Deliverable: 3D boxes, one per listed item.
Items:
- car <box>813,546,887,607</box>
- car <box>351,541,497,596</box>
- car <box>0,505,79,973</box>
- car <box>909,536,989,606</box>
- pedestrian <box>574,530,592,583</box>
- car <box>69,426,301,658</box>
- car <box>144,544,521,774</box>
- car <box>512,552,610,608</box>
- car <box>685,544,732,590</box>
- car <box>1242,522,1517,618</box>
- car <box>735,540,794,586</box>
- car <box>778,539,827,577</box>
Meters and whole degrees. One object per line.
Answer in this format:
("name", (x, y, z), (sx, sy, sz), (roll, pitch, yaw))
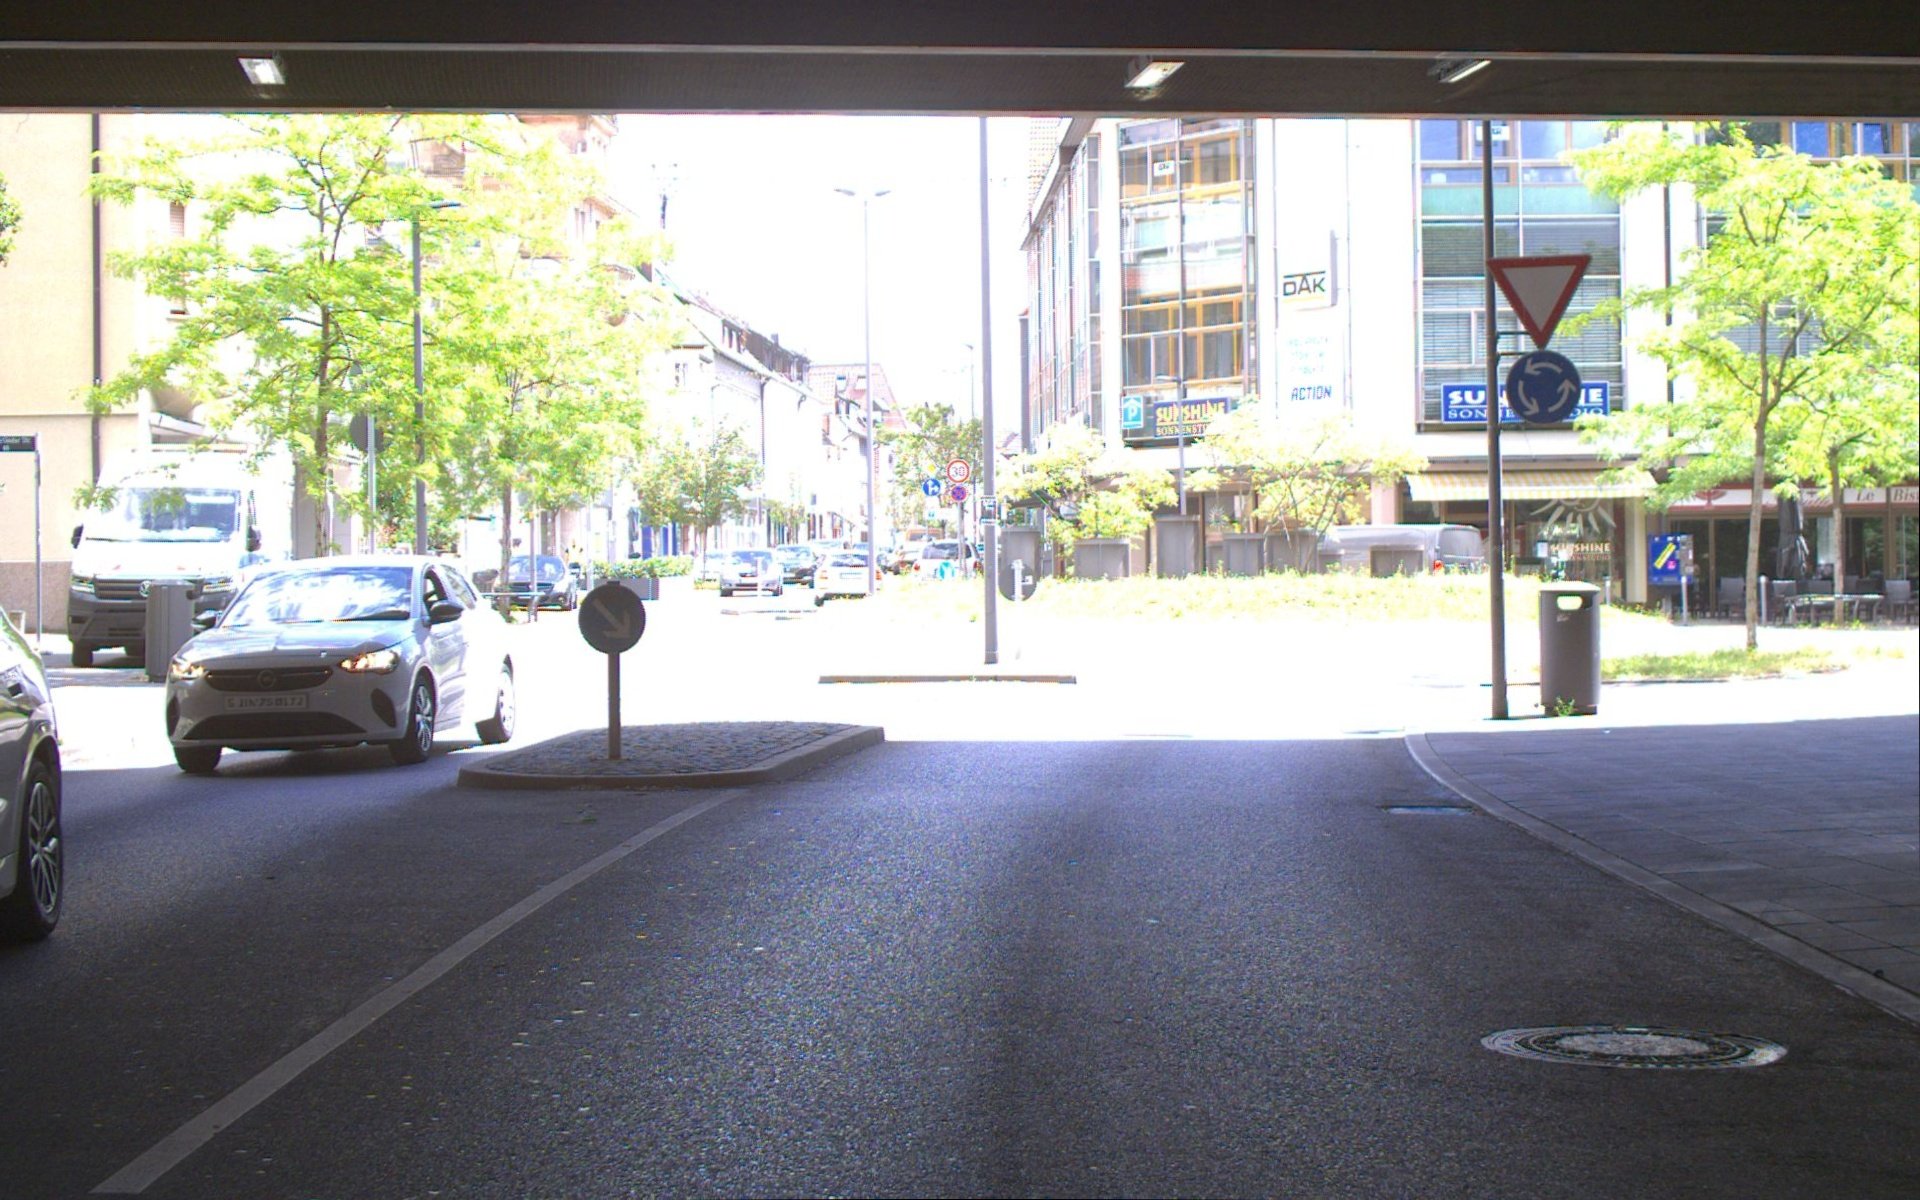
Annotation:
("car", (-2.807, -0.603, 88.027), (1.824, 1.514, 4.233), (-1, 0, -2))
("car", (-17.298, -1.020, 110.926), (4.417, 1.769, 2.001), (0, 1, -16))
("car", (-4.260, 0.523, 11.441), (1.825, 1.648, 4.215), (-2, 1, -4))
("car", (-0.266, -0.750, 89.186), (1.824, 1.725, 4.233), (-1, 1, 3))
("pedestrian", (-12.028, -1.384, 109.772), (0.551, 1.680, 0.516), (0, 1, -4))
("car", (-9.328, -0.703, 41.819), (1.967, 2.598, 5.932), (1, 1, -5))
("car", (-4.351, 0.360, 24.403), (1.671, 1.442, 3.852), (-2, 1, 4))
("car", (-9.214, -0.484, 79.612), (1.709, 1.241, 4.411), (0, 1, 1))
("car", (-9.512, -1.262, 129.869), (1.709, 1.706, 4.001), (0, 1, -4))
("car", (7.674, -0.560, 63.147), (4.689, 1.682, 1.995), (0, 1, 42))
("car", (-5.953, -1.146, 104.297), (1.709, 1.349, 4.001), (0, 1, -4))
("car", (-5.858, -1.563, 127.459), (1.709, 1.349, 4.001), (0, 1, -4))
